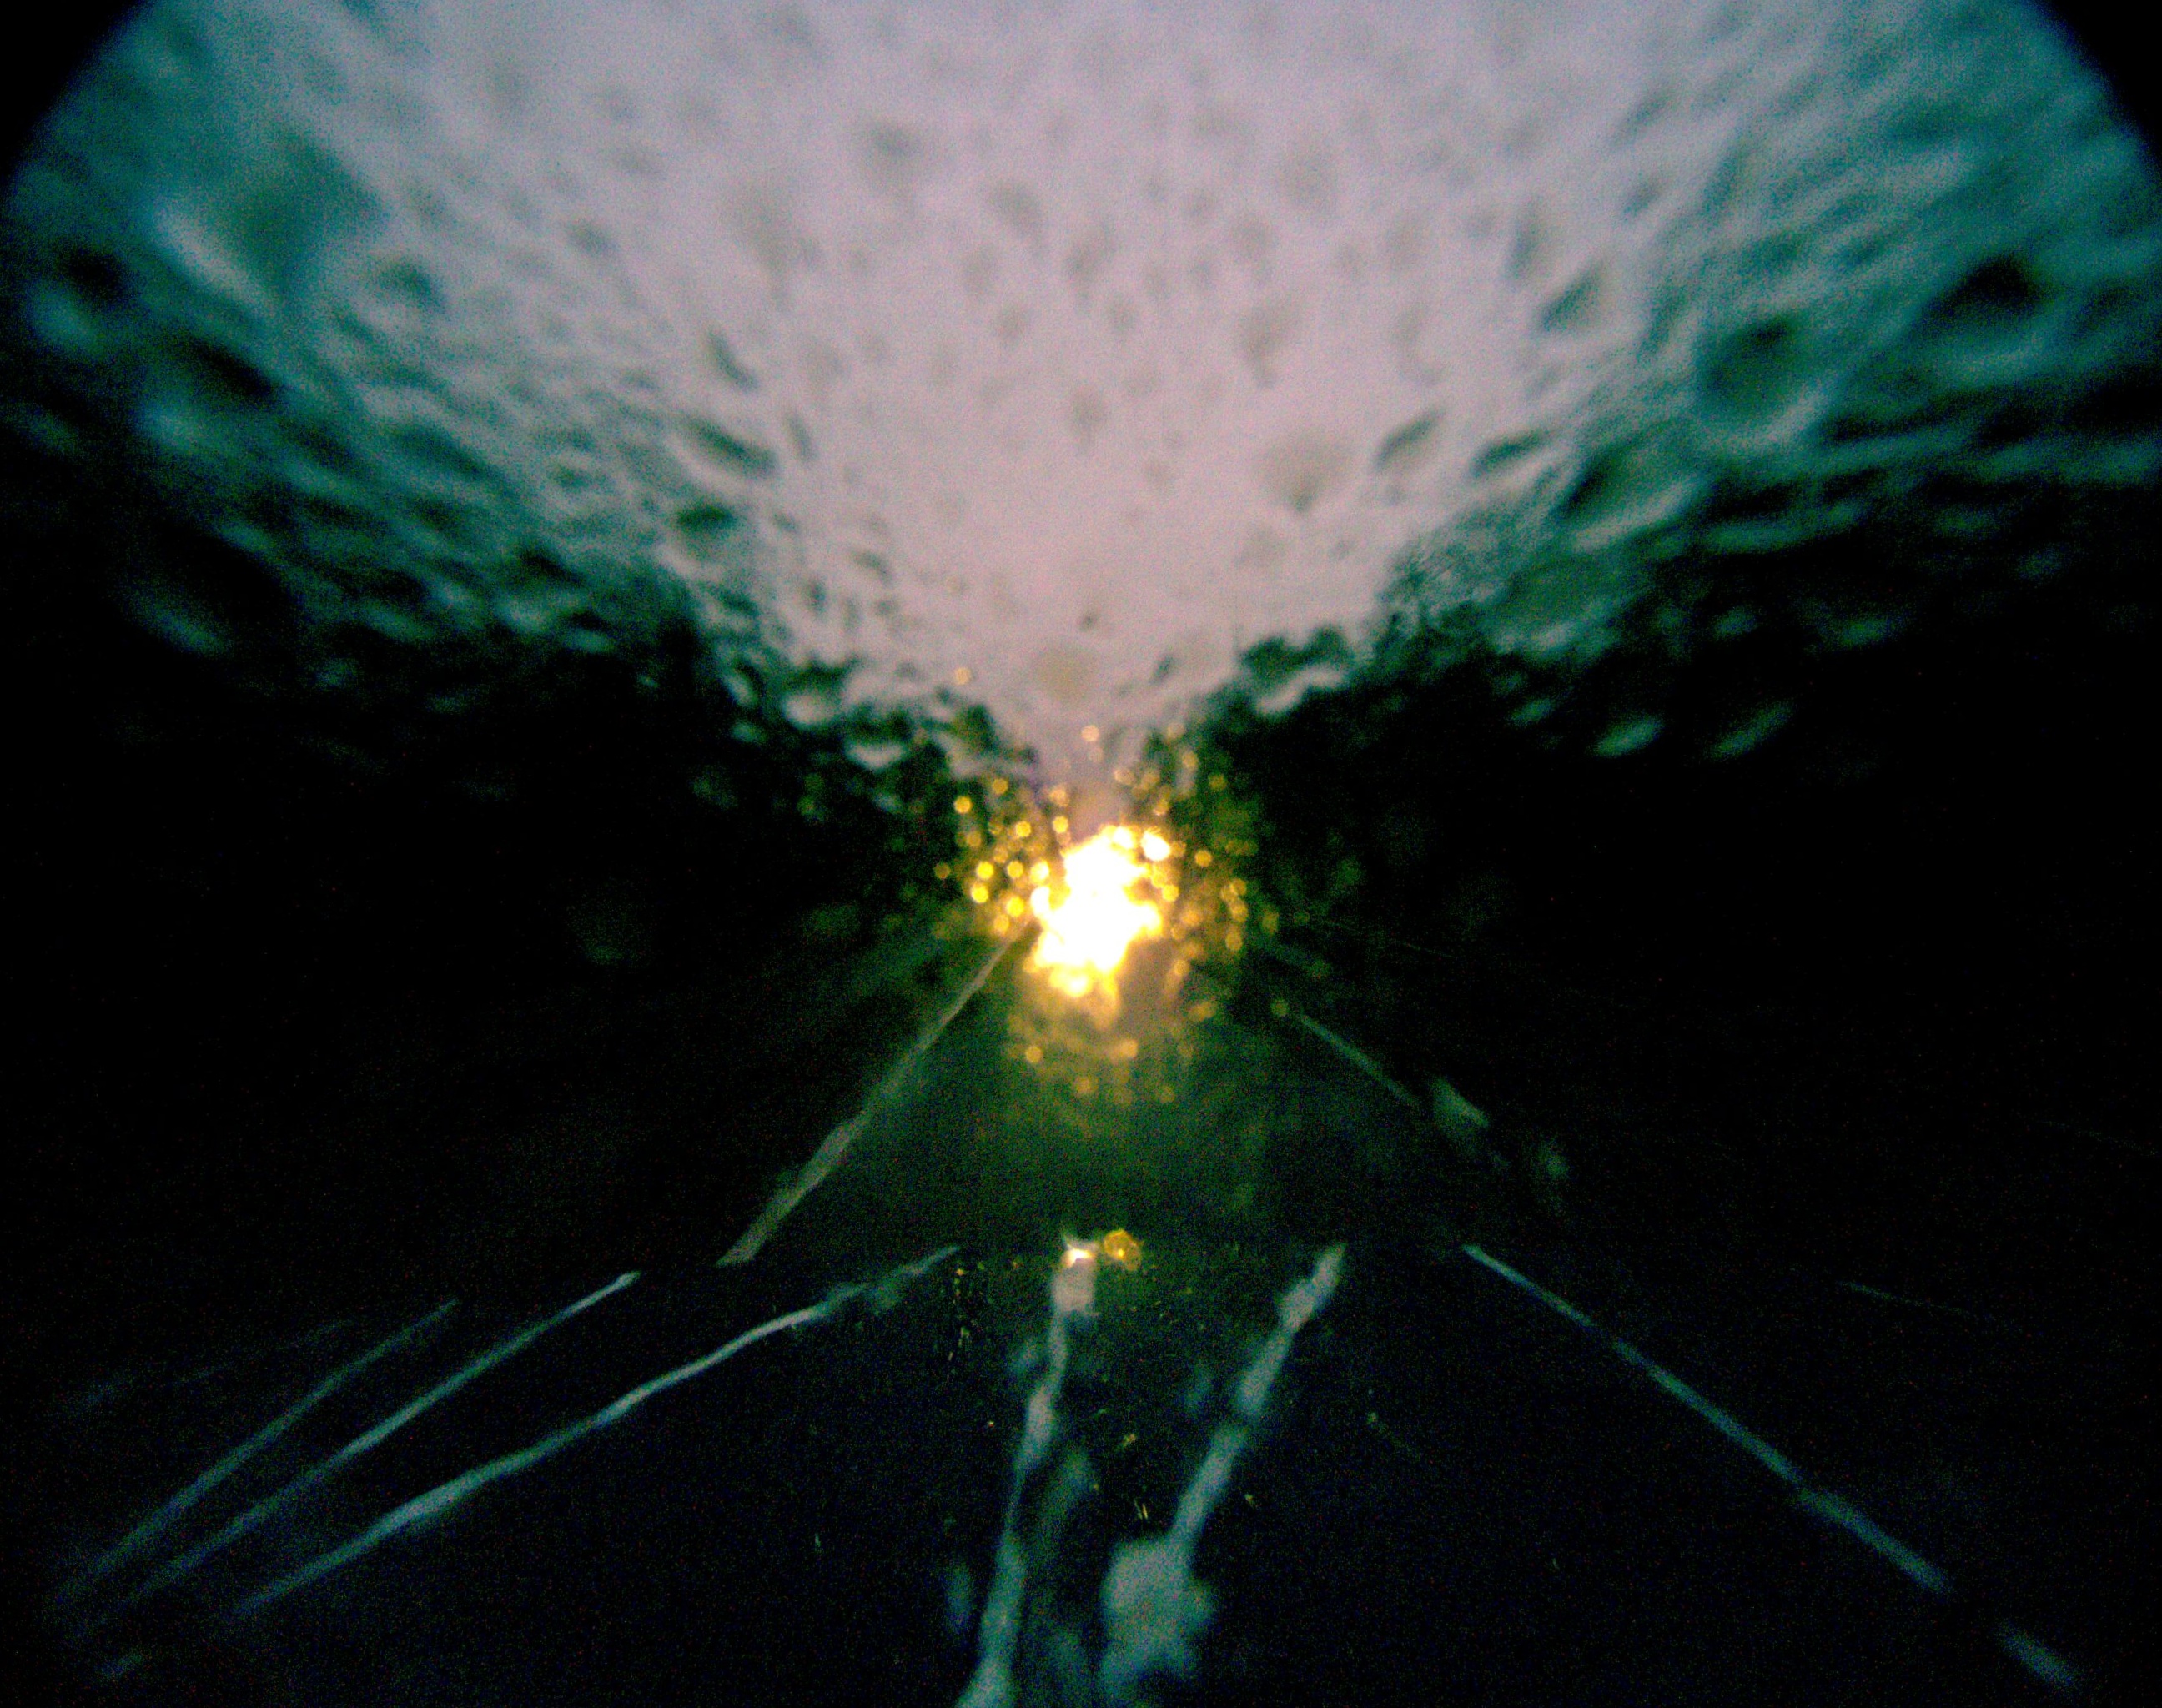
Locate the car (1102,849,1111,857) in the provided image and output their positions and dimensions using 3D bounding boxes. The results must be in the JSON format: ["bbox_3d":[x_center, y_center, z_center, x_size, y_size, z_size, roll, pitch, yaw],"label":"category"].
[{"bbox_3d":[5.112,-0.260,152.839,1.585,1.542,3.999,-2,1,0],"label":"car"}]

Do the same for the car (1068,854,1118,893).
[{"bbox_3d":[0.488,0.739,30.674,1.845,1.390,4.000,-1,1,1],"label":"car"}]

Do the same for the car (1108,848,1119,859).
[{"bbox_3d":[5.340,-0.107,124.906,1.710,1.812,4.285,-1,1,1],"label":"car"}]

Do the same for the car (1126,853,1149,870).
[{"bbox_3d":[4.757,0.586,64.865,1.623,1.381,4.071,-1,0,0],"label":"car"}]
